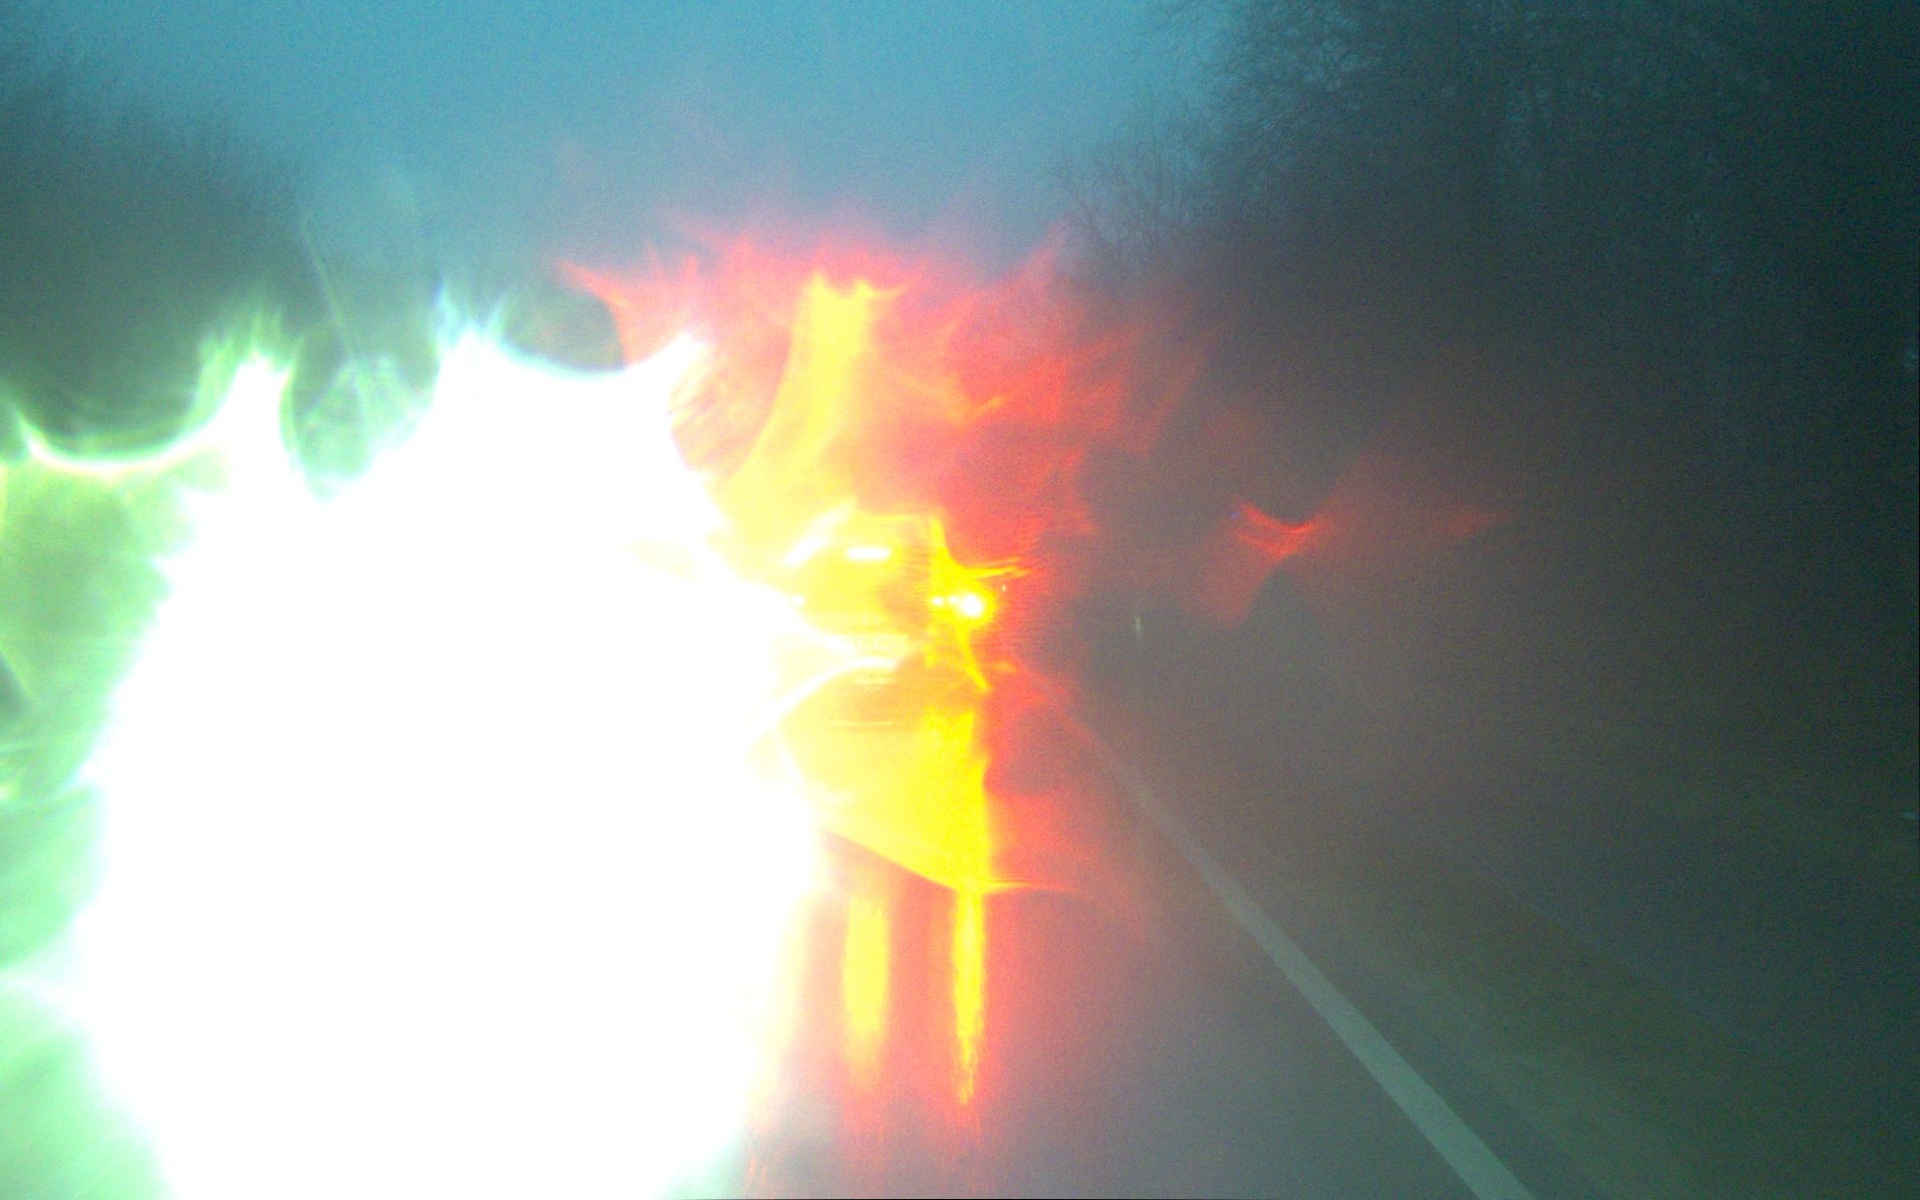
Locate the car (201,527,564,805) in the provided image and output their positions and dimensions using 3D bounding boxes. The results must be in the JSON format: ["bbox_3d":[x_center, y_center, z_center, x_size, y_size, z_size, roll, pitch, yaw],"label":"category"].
[{"bbox_3d":[-3.673,0.349,22.514,1.694,1.555,4.129,1,2,0],"label":"car"}]

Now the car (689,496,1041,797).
[{"bbox_3d":[-0.649,0.261,24.207,2.198,1.871,4.827,1,1,-1],"label":"car"}]
